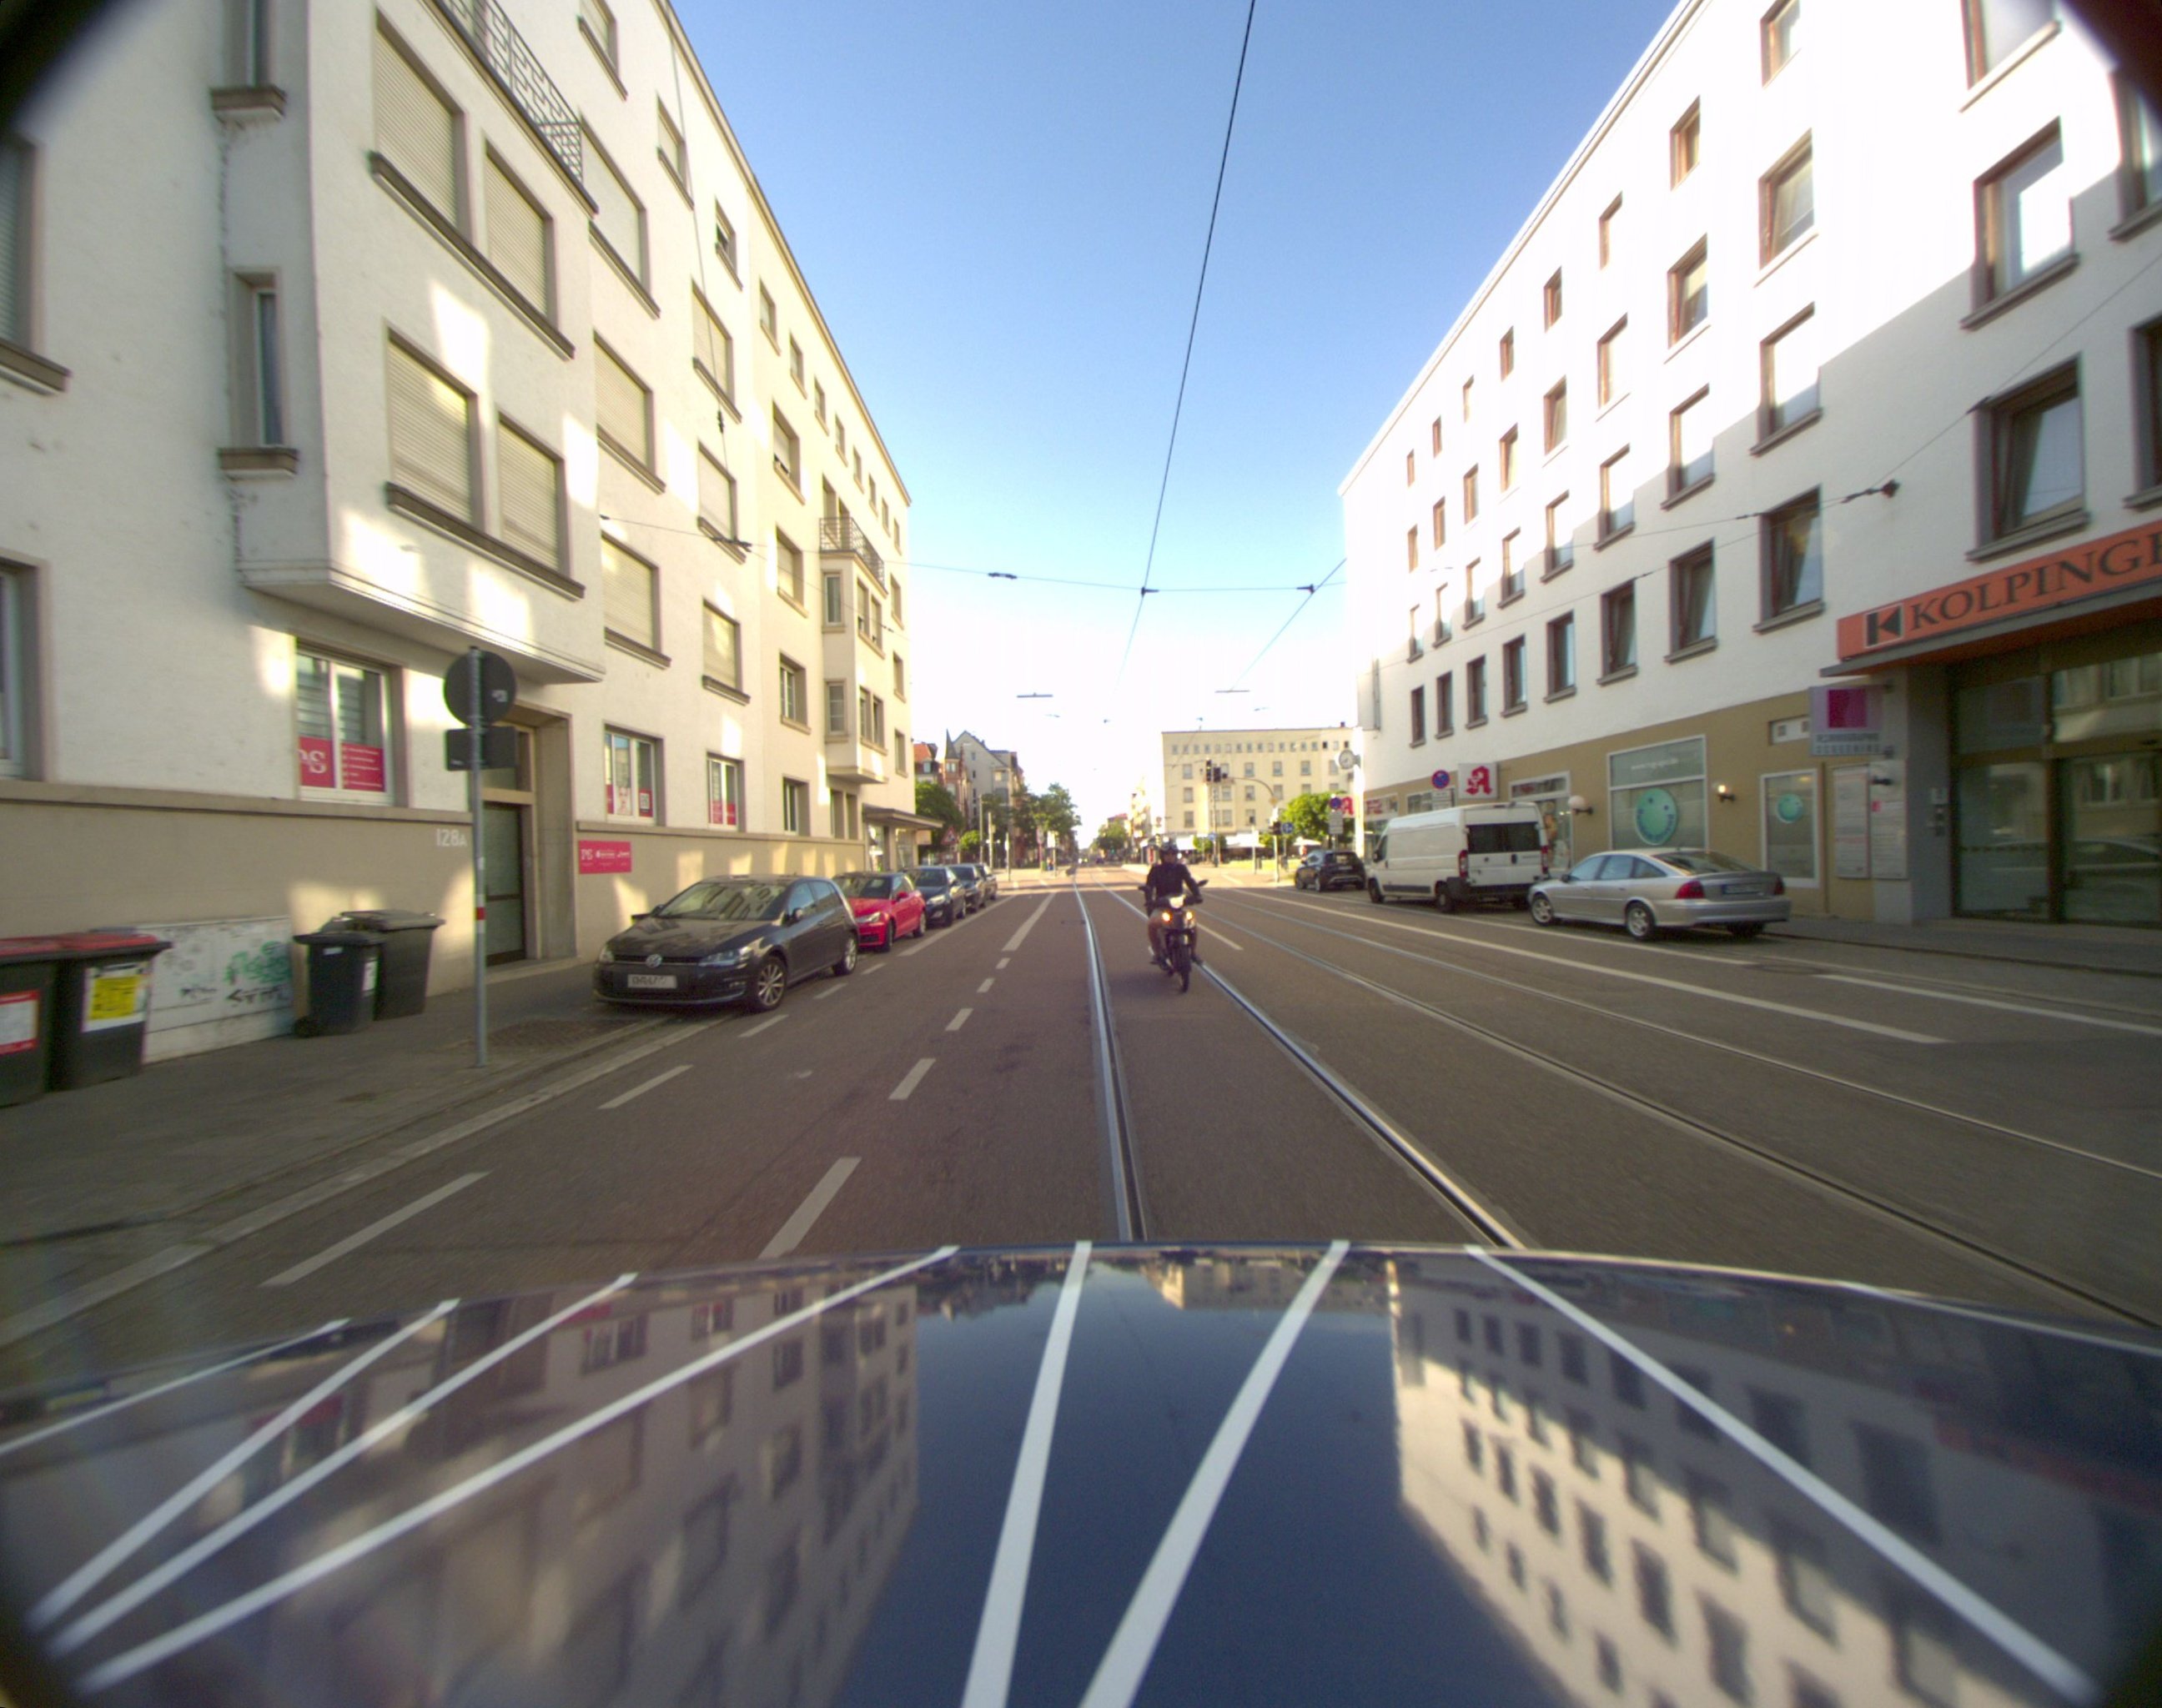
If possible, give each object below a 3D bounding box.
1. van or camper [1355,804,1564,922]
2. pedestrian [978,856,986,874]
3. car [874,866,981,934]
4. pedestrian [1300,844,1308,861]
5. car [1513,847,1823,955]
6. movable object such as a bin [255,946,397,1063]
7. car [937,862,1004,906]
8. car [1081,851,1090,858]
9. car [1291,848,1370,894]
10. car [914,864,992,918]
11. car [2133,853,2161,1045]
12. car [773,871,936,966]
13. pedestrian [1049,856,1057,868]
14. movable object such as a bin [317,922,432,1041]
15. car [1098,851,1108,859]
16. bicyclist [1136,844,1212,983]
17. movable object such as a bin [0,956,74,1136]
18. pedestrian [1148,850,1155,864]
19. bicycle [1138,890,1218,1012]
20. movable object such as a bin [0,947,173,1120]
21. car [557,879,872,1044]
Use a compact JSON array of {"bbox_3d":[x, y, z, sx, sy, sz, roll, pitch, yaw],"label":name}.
[{"bbox_3d":[9.398,0.194,19.743,2.177,2.453,6.231,-4,0,0],"label":"van or camper"},{"bbox_3d":[-10.660,1.187,81.788,0.650,1.944,0.583,-2,1,-16],"label":"pedestrian"},{"bbox_3d":[-3.892,1.117,20.004,1.862,1.498,4.096,1,0,2],"label":"car"},{"bbox_3d":[22.540,-0.160,76.729,0.666,1.685,0.840,-2,1,12],"label":"pedestrian"},{"bbox_3d":[9.367,0.644,12.722,1.787,1.390,4.445,-4,0,2],"label":"car"},{"bbox_3d":[-6.753,1.331,6.824,0.657,0.911,0.569,-2,1,-1],"label":"movable object such as a bin"},{"bbox_3d":[-4.247,1.093,29.869,1.752,1.498,4.919,1,0,2],"label":"car"},{"bbox_3d":[0.967,0.142,172.598,1.971,1.577,4.000,-2,0,1],"label":"car"},{"bbox_3d":[9.586,0.610,29.506,1.787,1.543,3.992,-4,0,2],"label":"car"},{"bbox_3d":[-4.015,1.118,24.533,1.862,1.498,4.505,1,0,-2],"label":"car"},{"bbox_3d":[9.217,0.694,3.642,1.788,1.472,4.699,-4,0,0],"label":"car"},{"bbox_3d":[-4.203,1.129,14.799,1.862,1.464,3.989,1,0,2],"label":"car"},{"bbox_3d":[-2.832,0.776,77.268,0.774,1.197,0.610,-2,1,-8],"label":"pedestrian"},{"bbox_3d":[-6.916,1.229,7.458,0.560,1.051,0.554,-2,1,-1],"label":"movable object such as a bin"},{"bbox_3d":[4.513,0.268,154.290,1.970,1.577,4.000,-2,0,2],"label":"car"},{"bbox_3d":[1.076,0.667,8.972,0.774,1.531,0.939,-2,1,2],"label":"bicyclist"},{"bbox_3d":[-7.032,1.218,4.743,0.677,1.066,0.569,-2,1,-1],"label":"movable object such as a bin"},{"bbox_3d":[7.877,0.314,84.778,0.551,1.482,0.610,-2,1,-6],"label":"pedestrian"},{"bbox_3d":[1.091,1.076,8.938,0.767,1.191,1.752,-2,0,3],"label":"bicycle"},{"bbox_3d":[-7.071,1.228,5.326,0.677,1.066,0.569,-2,1,-1],"label":"movable object such as a bin"},{"bbox_3d":[-4.124,1.100,9.481,1.714,1.399,4.358,1,0,2],"label":"car"}]
